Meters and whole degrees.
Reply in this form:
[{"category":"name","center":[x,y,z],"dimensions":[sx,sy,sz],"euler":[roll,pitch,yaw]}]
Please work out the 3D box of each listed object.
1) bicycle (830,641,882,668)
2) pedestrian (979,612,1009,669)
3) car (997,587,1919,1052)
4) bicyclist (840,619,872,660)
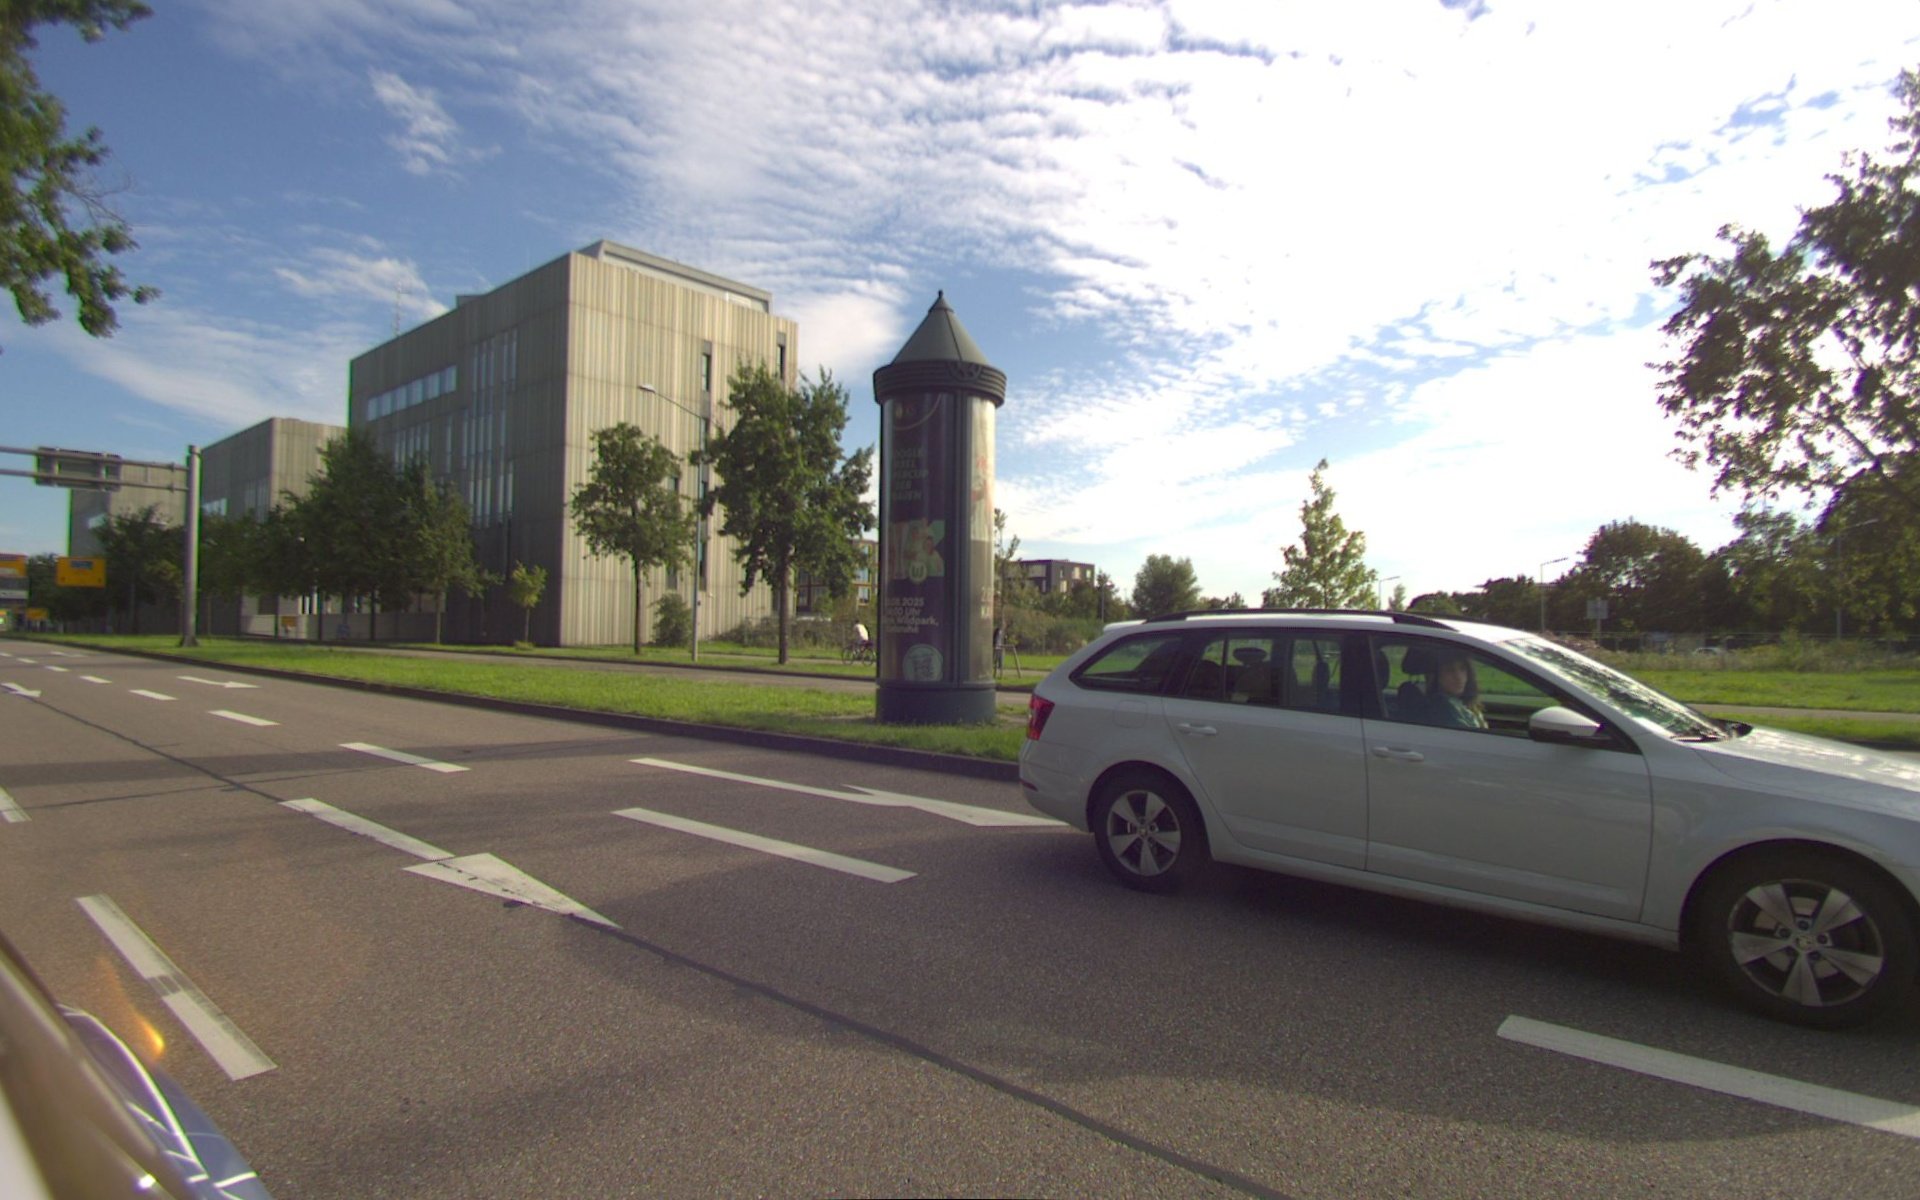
[{"category":"bicycle","center":[-3.953,2.066,38.386],"dimensions":[1.910,0.989,0.885],"euler":[-1,-3,41]},{"category":"pedestrian","center":[1.233,1.456,36.627],"dimensions":[0.867,2.029,0.667],"euler":[-1,-3,41]},{"category":"car","center":[2.445,0.739,5.008],"dimensions":[4.479,1.510,1.681],"euler":[-1,-1,41]},{"category":"bicyclist","center":[-3.959,1.507,38.407],"dimensions":[0.989,1.537,0.698],"euler":[-1,-3,41]}]
